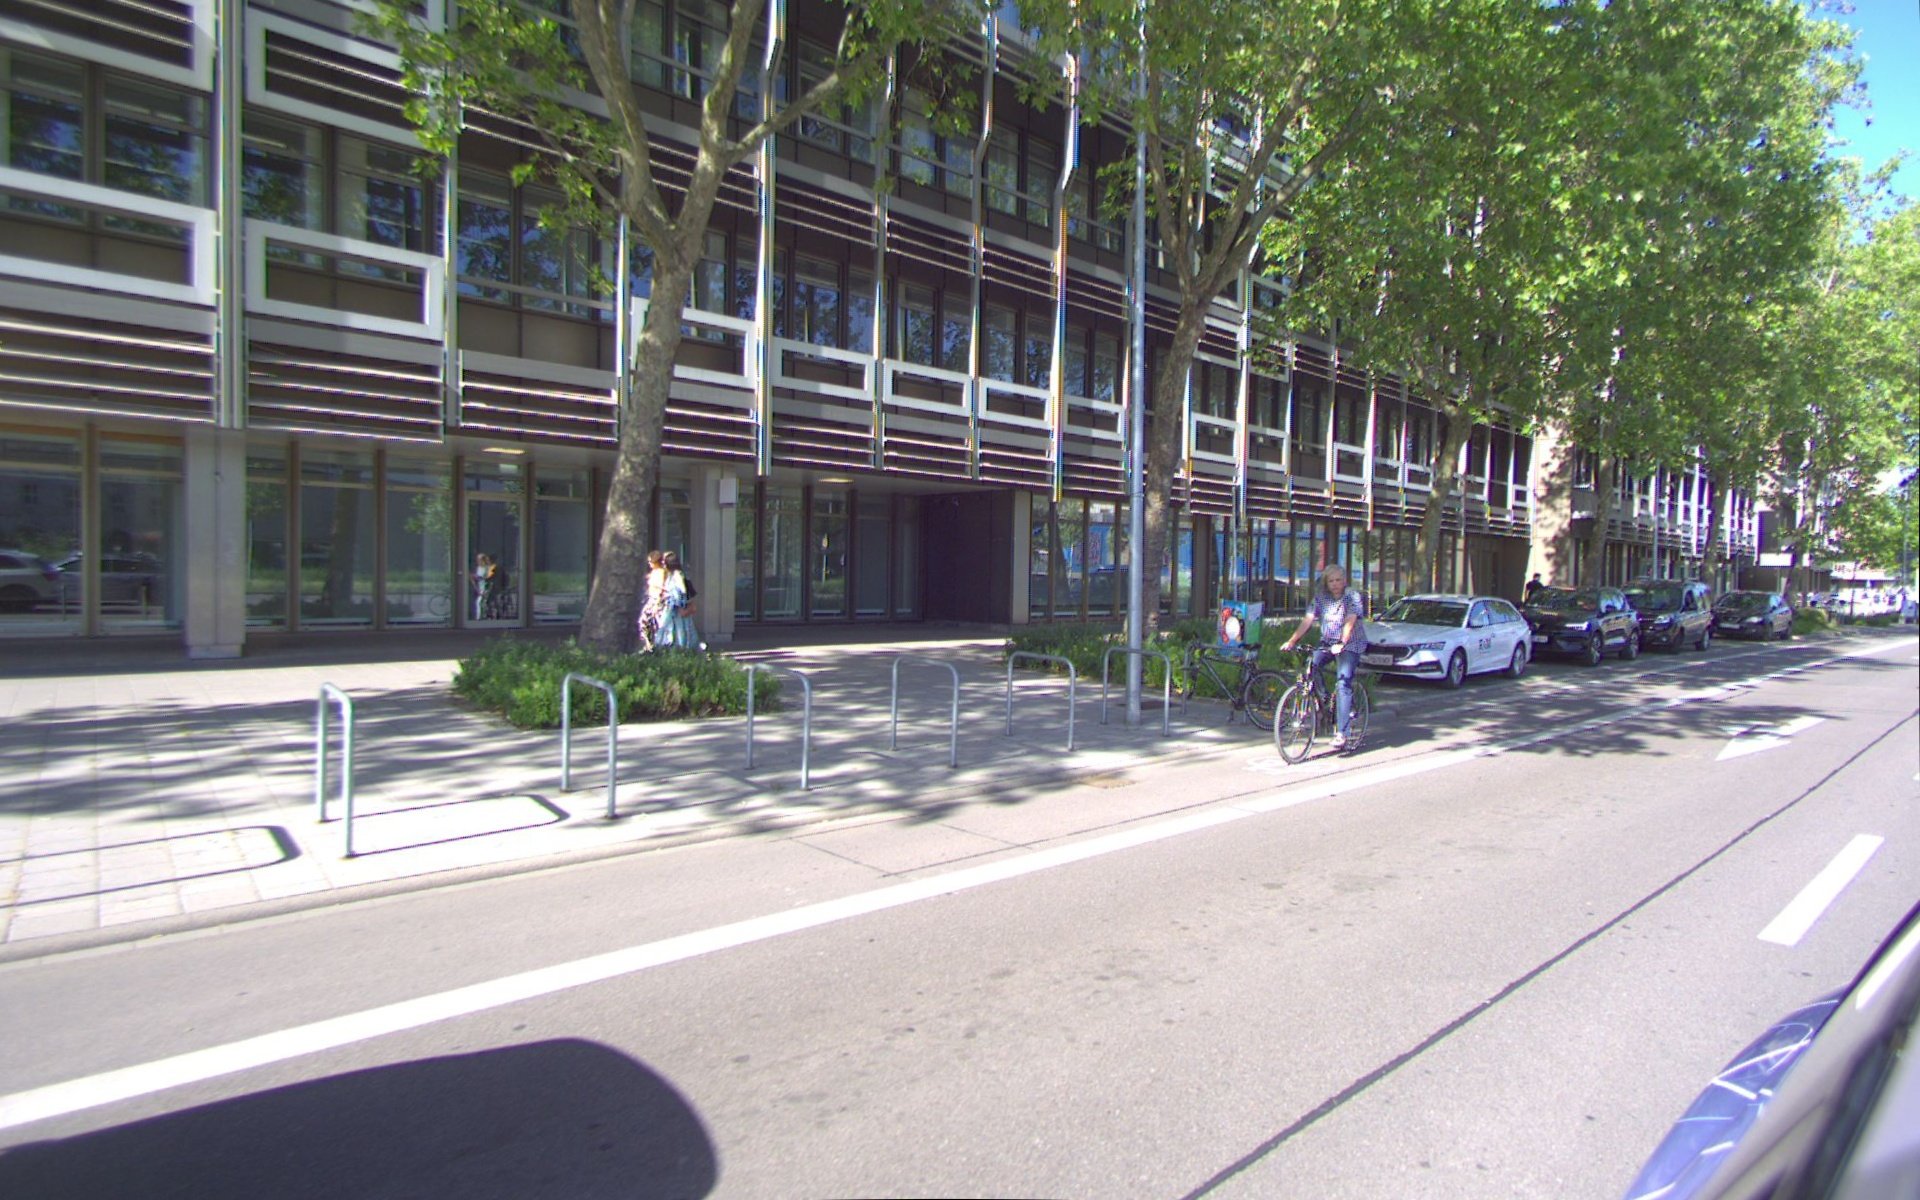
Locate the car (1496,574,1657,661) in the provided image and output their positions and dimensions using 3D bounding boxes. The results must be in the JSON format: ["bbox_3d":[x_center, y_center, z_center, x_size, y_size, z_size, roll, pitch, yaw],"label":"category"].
[{"bbox_3d":[13.397,0.315,21.900,4.262,1.653,1.751,0,3,-42],"label":"car"}]

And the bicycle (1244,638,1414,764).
[{"bbox_3d":[3.507,0.897,9.523,1.891,1.006,0.710,0,-1,-43],"label":"bicycle"}]

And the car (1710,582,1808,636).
[{"bbox_3d":[26.097,0.254,33.012,4.262,1.573,1.751,0,3,-42],"label":"car"}]

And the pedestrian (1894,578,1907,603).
[{"bbox_3d":[69.510,-0.707,74.798,0.559,1.863,0.591,0,1,-41],"label":"pedestrian"}]

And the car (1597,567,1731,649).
[{"bbox_3d":[17.778,0.159,25.495,4.262,1.843,1.751,0,3,-42],"label":"car"}]

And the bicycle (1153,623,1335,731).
[{"bbox_3d":[3.173,0.819,11.436,0.700,0.972,1.845,0,3,-45],"label":"bicycle"}]

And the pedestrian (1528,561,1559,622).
[{"bbox_3d":[19.935,-0.298,34.582,0.615,2.039,0.740,0,1,-44],"label":"pedestrian"}]

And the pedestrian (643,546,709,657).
[{"bbox_3d":[-4.352,0.006,15.494,0.715,1.620,0.667,0,3,-42],"label":"pedestrian"}]

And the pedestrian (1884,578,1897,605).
[{"bbox_3d":[63.886,-0.564,69.493,0.559,1.863,0.591,0,1,-41],"label":"pedestrian"}]

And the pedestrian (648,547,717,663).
[{"bbox_3d":[-4.055,0.056,14.769,0.715,1.620,0.667,0,3,-40],"label":"pedestrian"}]

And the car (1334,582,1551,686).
[{"bbox_3d":[8.465,0.498,17.564,4.481,1.508,1.751,0,3,-42],"label":"car"}]

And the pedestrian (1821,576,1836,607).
[{"bbox_3d":[52.576,-0.493,61.280,0.685,1.863,0.591,0,1,-42],"label":"pedestrian"}]

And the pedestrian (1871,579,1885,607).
[{"bbox_3d":[60.323,-0.453,66.467,0.684,1.863,0.591,0,1,-42],"label":"pedestrian"}]

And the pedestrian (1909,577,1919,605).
[{"bbox_3d":[63.879,-0.631,67.637,0.559,1.863,0.591,0,1,-41],"label":"pedestrian"}]

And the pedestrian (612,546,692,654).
[{"bbox_3d":[-4.841,-0.010,15.918,0.991,1.620,0.667,0,3,-41],"label":"pedestrian"}]

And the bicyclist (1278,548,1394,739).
[{"bbox_3d":[3.563,0.392,9.591,0.838,1.709,0.710,0,-1,-42],"label":"bicyclist"}]
